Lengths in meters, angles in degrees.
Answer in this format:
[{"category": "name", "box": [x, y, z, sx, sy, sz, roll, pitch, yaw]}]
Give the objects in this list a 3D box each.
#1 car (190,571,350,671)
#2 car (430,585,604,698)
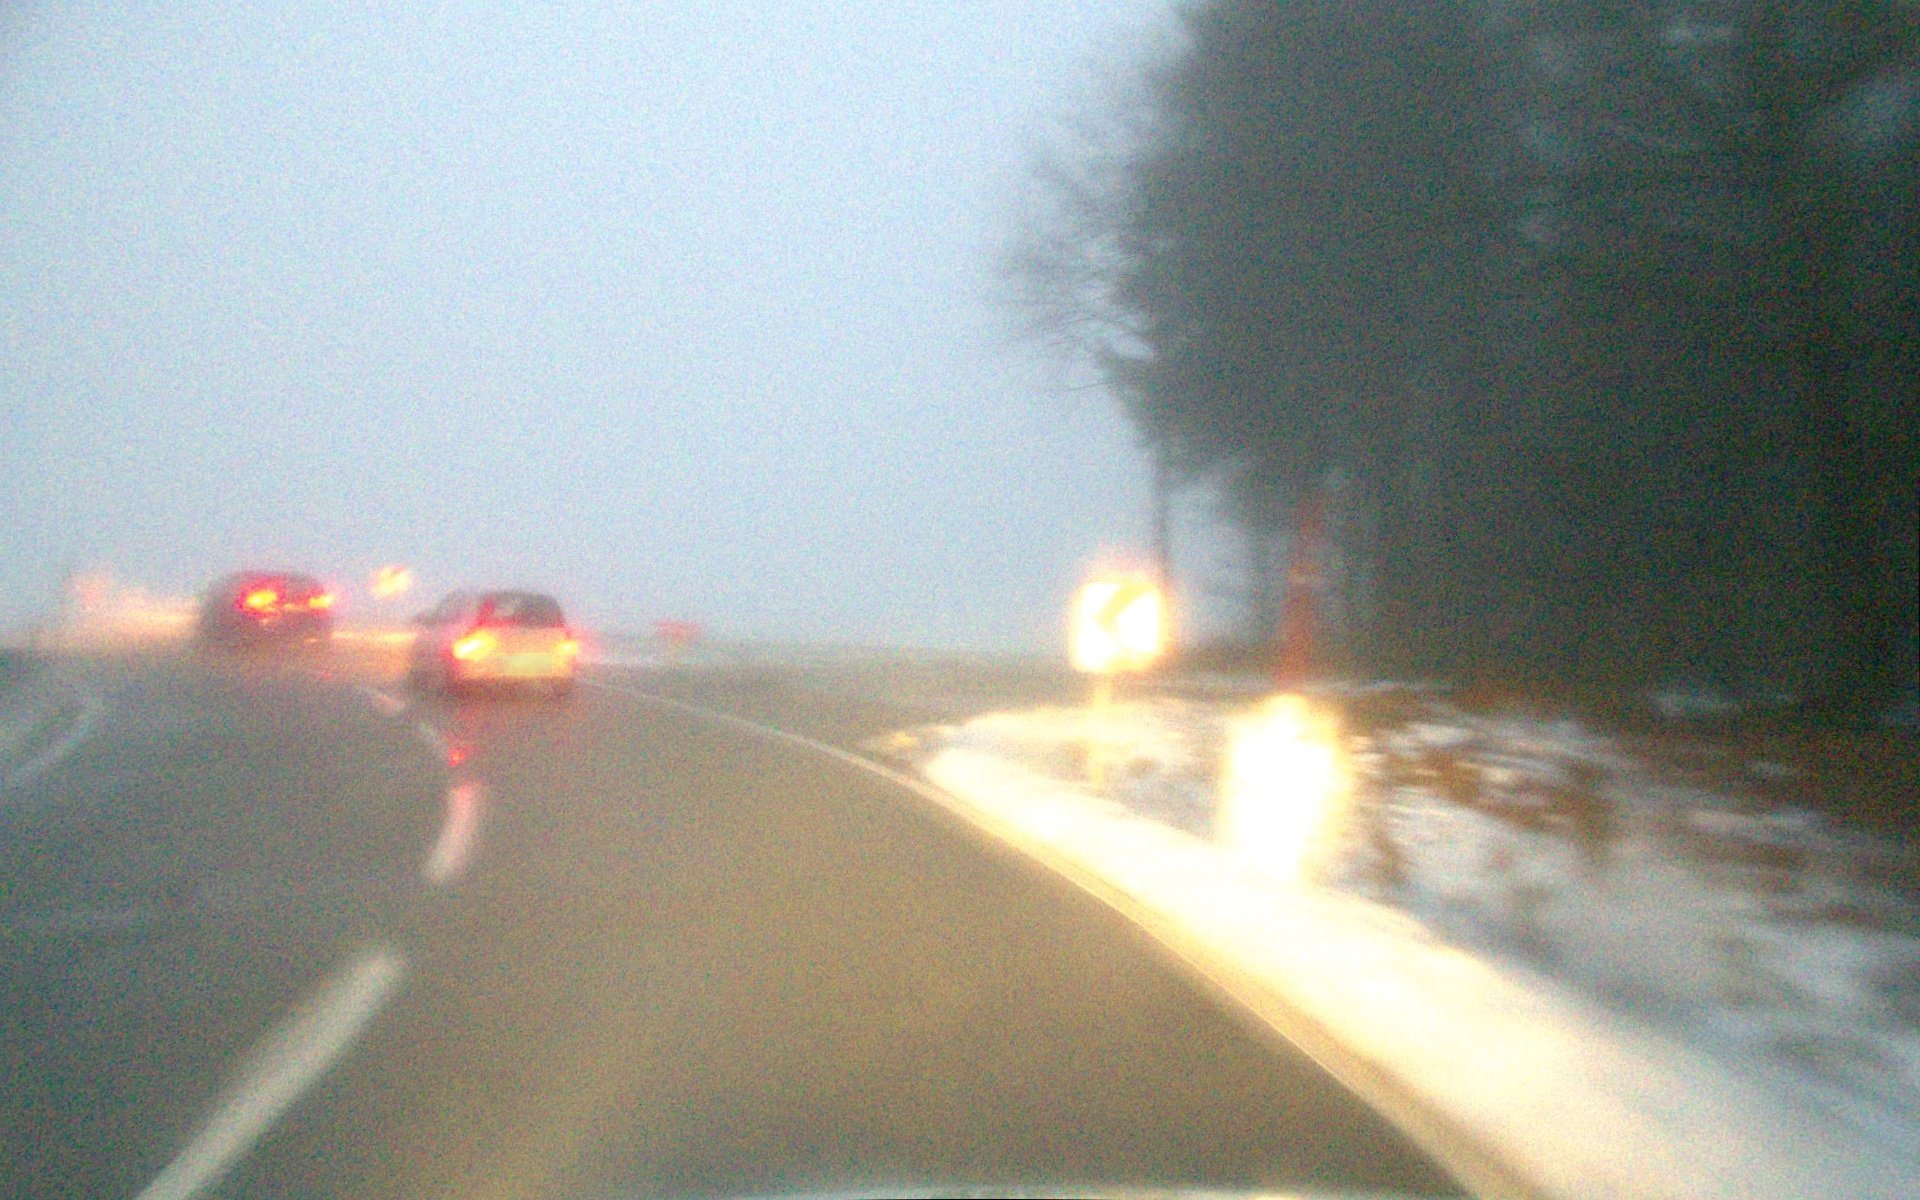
[{"category": "car", "box": [-13.440, 0.345, 32.101, 1.979, 1.814, 3.948, -1, 1, -37]}, {"category": "car", "box": [-6.253, 0.510, 23.048, 1.918, 1.405, 3.975, 0, 1, -21]}]
